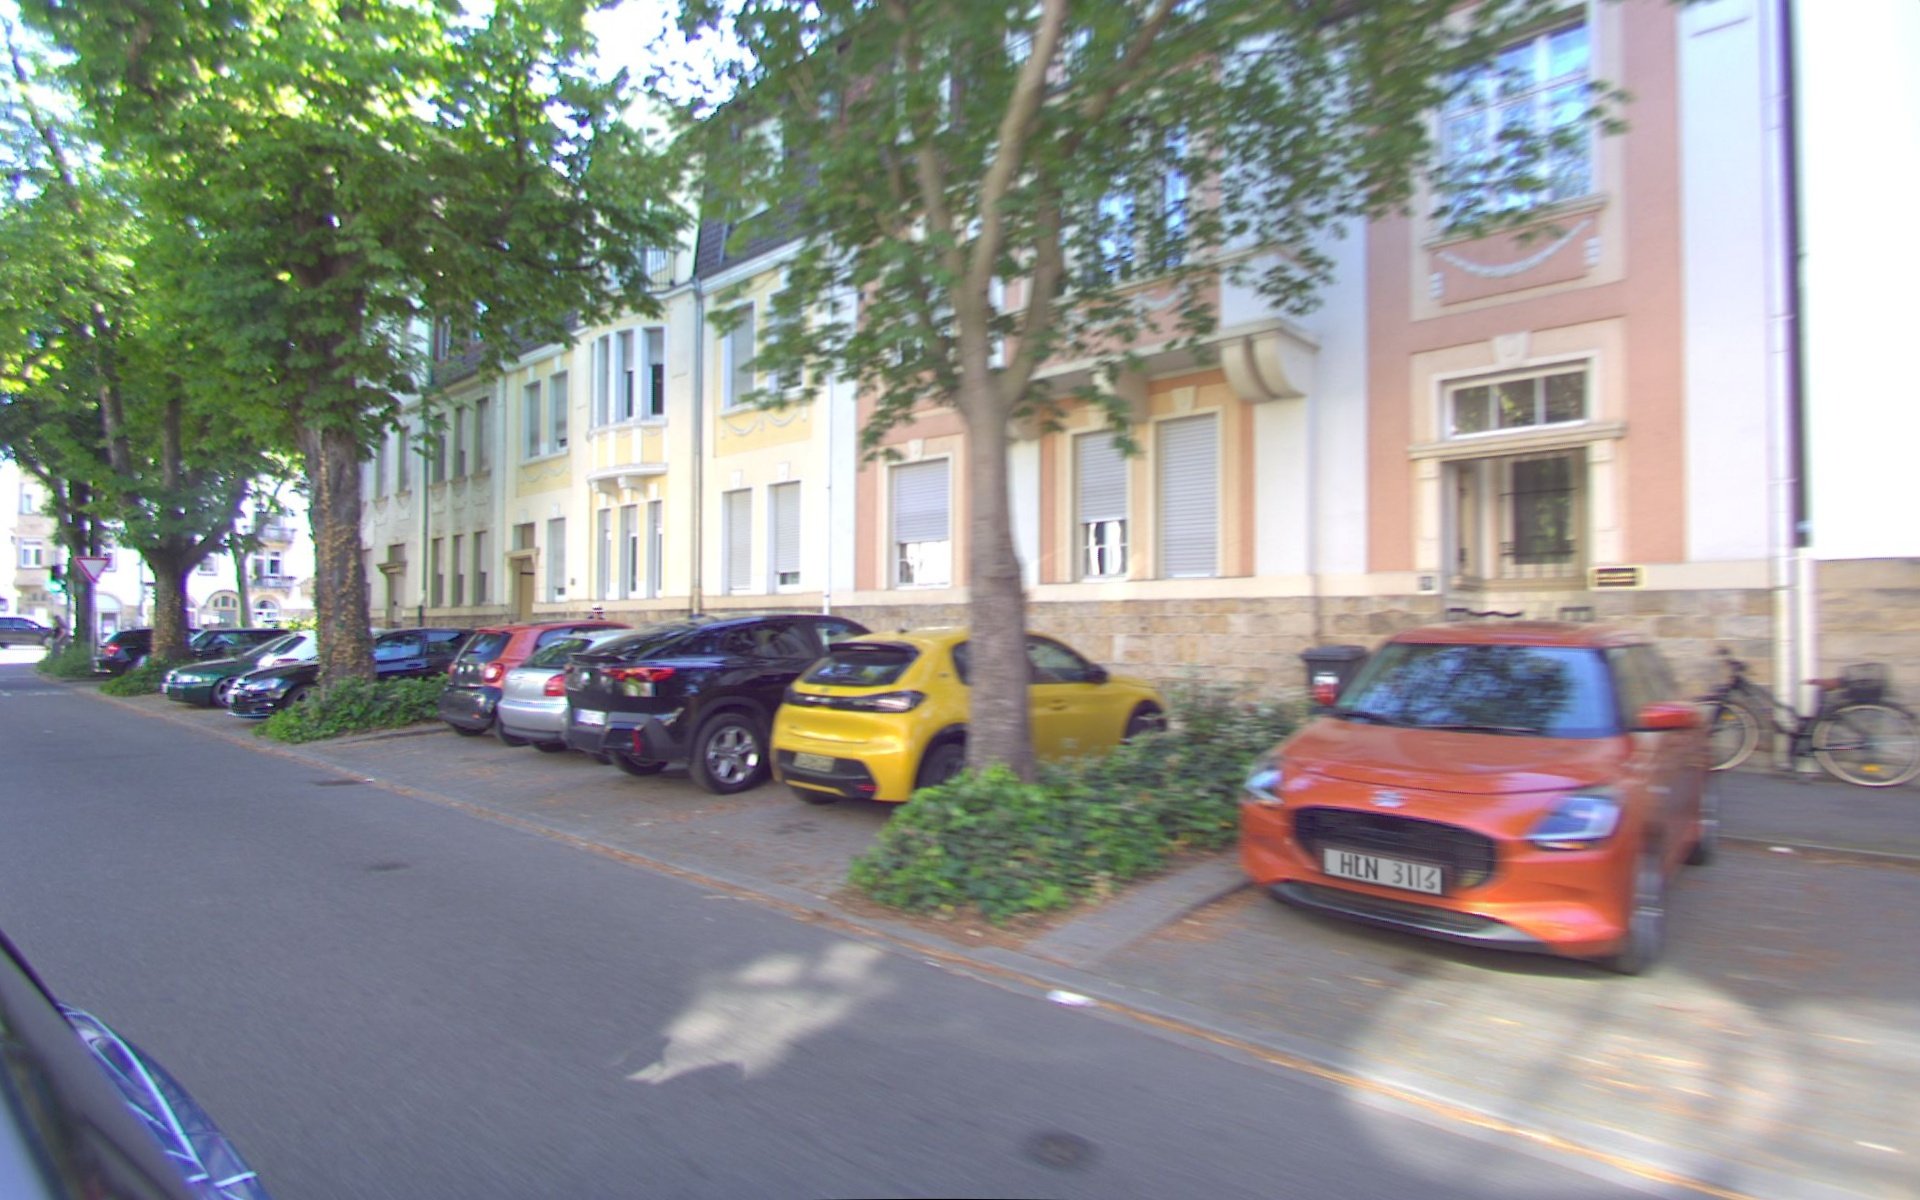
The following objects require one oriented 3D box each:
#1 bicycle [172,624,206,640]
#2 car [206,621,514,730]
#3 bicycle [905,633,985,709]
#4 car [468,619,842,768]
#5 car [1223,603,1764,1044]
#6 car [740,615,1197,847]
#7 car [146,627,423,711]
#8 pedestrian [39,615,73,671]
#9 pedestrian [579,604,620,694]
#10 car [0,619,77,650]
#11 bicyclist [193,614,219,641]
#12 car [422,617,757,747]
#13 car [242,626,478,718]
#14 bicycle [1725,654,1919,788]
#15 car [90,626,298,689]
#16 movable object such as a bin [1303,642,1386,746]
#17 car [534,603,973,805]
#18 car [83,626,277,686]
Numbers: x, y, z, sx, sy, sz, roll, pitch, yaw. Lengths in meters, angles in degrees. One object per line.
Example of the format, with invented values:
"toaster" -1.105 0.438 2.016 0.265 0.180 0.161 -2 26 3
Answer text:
"bicycle" -53.842 2.243 70.702 0.610 1.142 1.786 -2 -3 39
"car" -9.556 1.106 16.330 1.785 1.493 3.943 -1 -1 43
"bicycle" -0.233 1.041 15.116 1.254 1.073 0.428 -1 -2 43
"car" -3.524 0.971 12.203 1.830 1.414 3.943 -1 0 43
"car" 3.172 0.789 5.574 1.747 1.526 3.944 0 -1 42
"car" 0.235 0.888 8.651 1.863 1.473 3.748 -1 -1 43
"car" -12.906 1.253 19.541 1.703 1.359 4.167 0 -1 42
"pedestrian" -27.856 1.323 31.193 0.684 1.695 0.681 1 -2 -37
"pedestrian" -6.868 0.911 19.278 0.454 1.671 0.896 1 -2 -40
"car" -42.318 1.542 45.143 4.145 1.364 1.869 1 -2 -33
"bicyclist" -44.040 1.587 59.110 0.687 1.554 1.060 -2 -2 41
"car" -4.932 1.033 13.854 1.722 1.519 3.943 -1 -3 43
"car" -10.923 1.235 18.542 1.704 1.463 3.395 0 -1 44
"bicycle" 7.077 0.939 8.083 1.496 0.939 0.619 -1 1 41
"car" -19.036 1.370 25.291 1.612 1.426 3.847 -1 -2 36
"movable object such as a bin" 4.085 0.970 10.742 0.614 1.043 0.680 -2 -2 42
"car" -1.883 0.840 10.082 1.863 1.578 3.943 -1 -1 43
"car" -20.780 1.466 27.075 1.615 1.487 3.841 -1 -3 42
